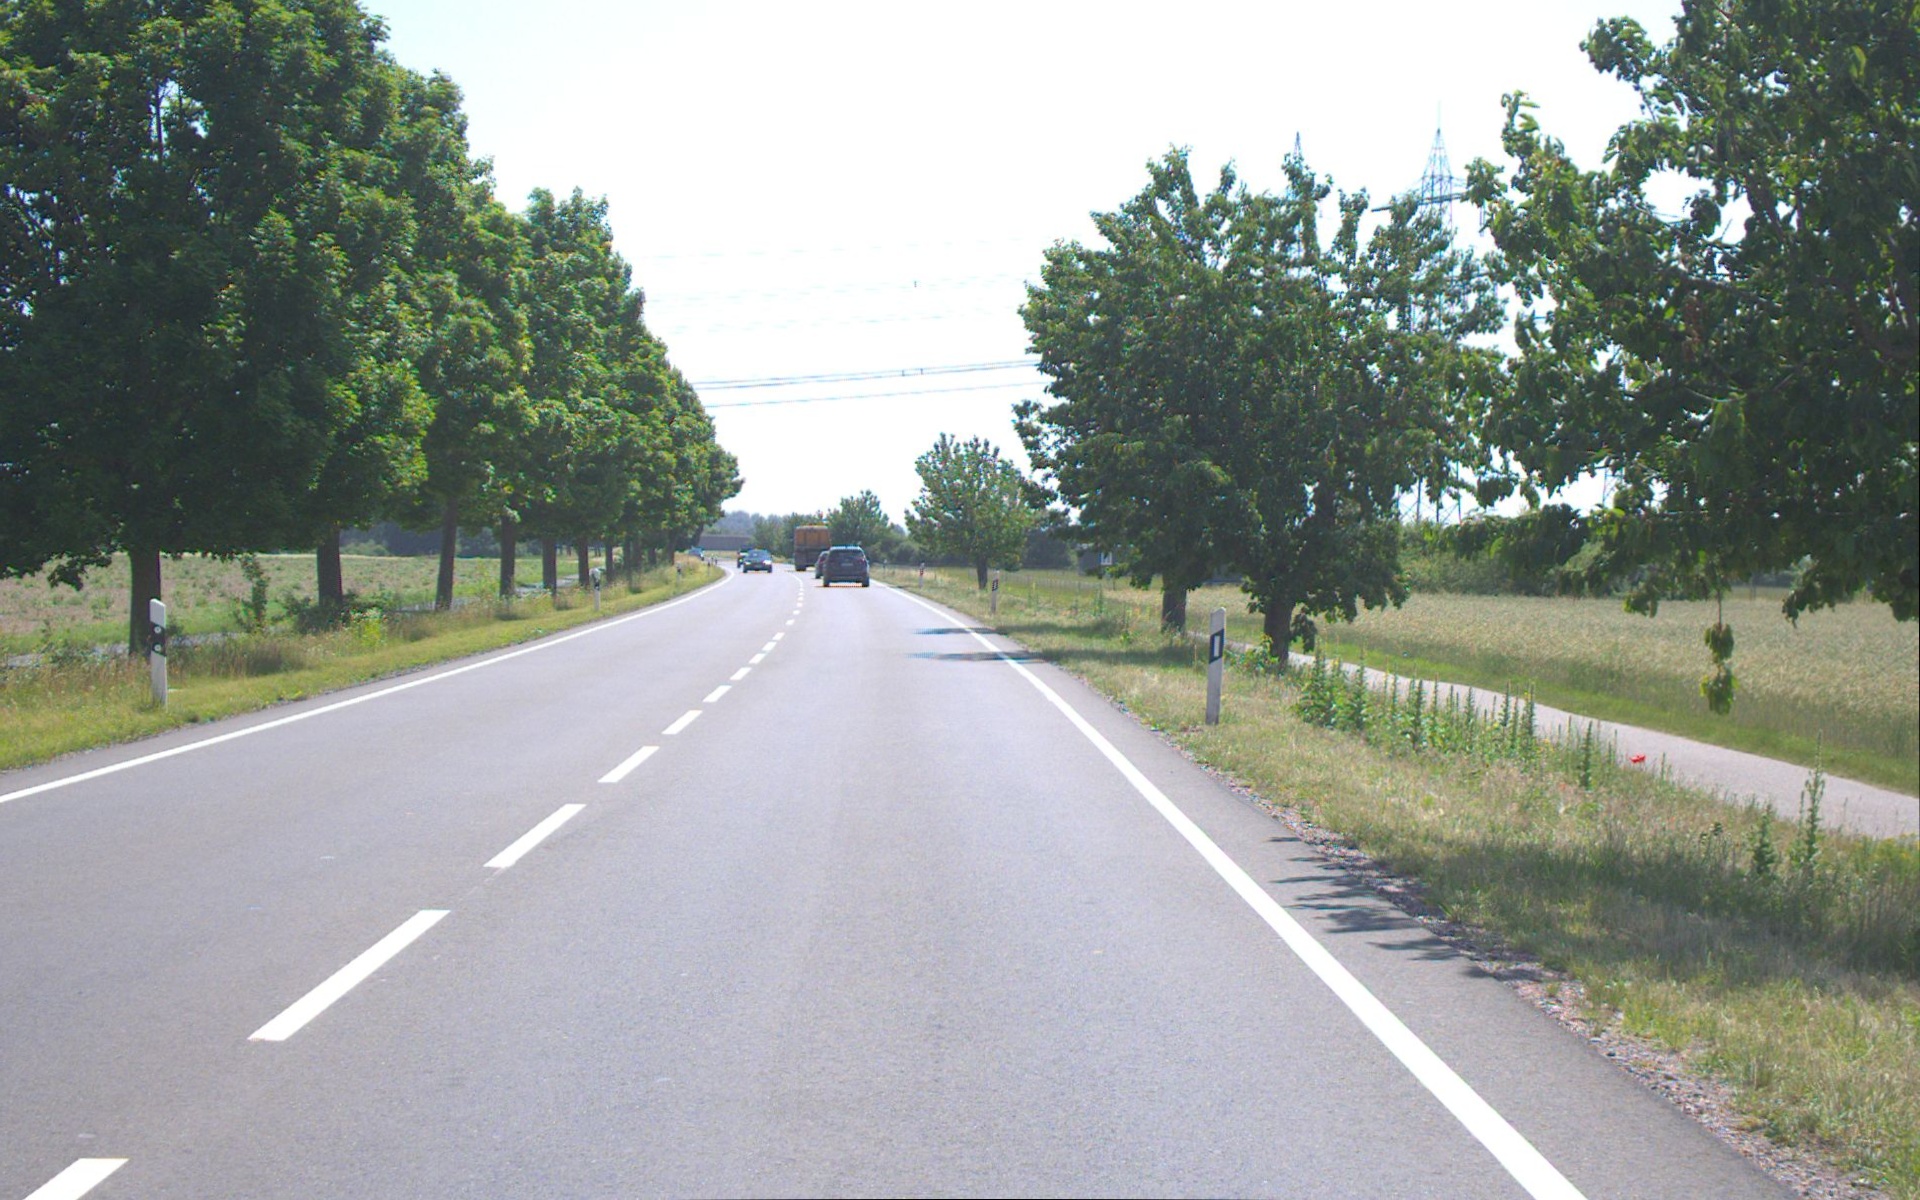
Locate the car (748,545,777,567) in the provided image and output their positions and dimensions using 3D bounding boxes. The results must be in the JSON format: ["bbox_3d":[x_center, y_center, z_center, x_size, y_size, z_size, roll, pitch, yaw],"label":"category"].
[{"bbox_3d":[-12.925,-2.878,224.993,1.822,1.415,4.589,0,1,-2],"label":"car"}]

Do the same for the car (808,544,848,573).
[{"bbox_3d":[-7.044,-2.208,182.835,1.850,1.517,4.001,0,1,-6],"label":"car"}]

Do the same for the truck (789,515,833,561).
[{"bbox_3d":[-10.597,-4.397,243.694,2.370,3.129,8.749,1,1,-7],"label":"truck"}]

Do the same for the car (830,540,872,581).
[{"bbox_3d":[-4.544,-1.639,143.480,1.714,1.688,3.989,0,1,-2],"label":"car"}]
